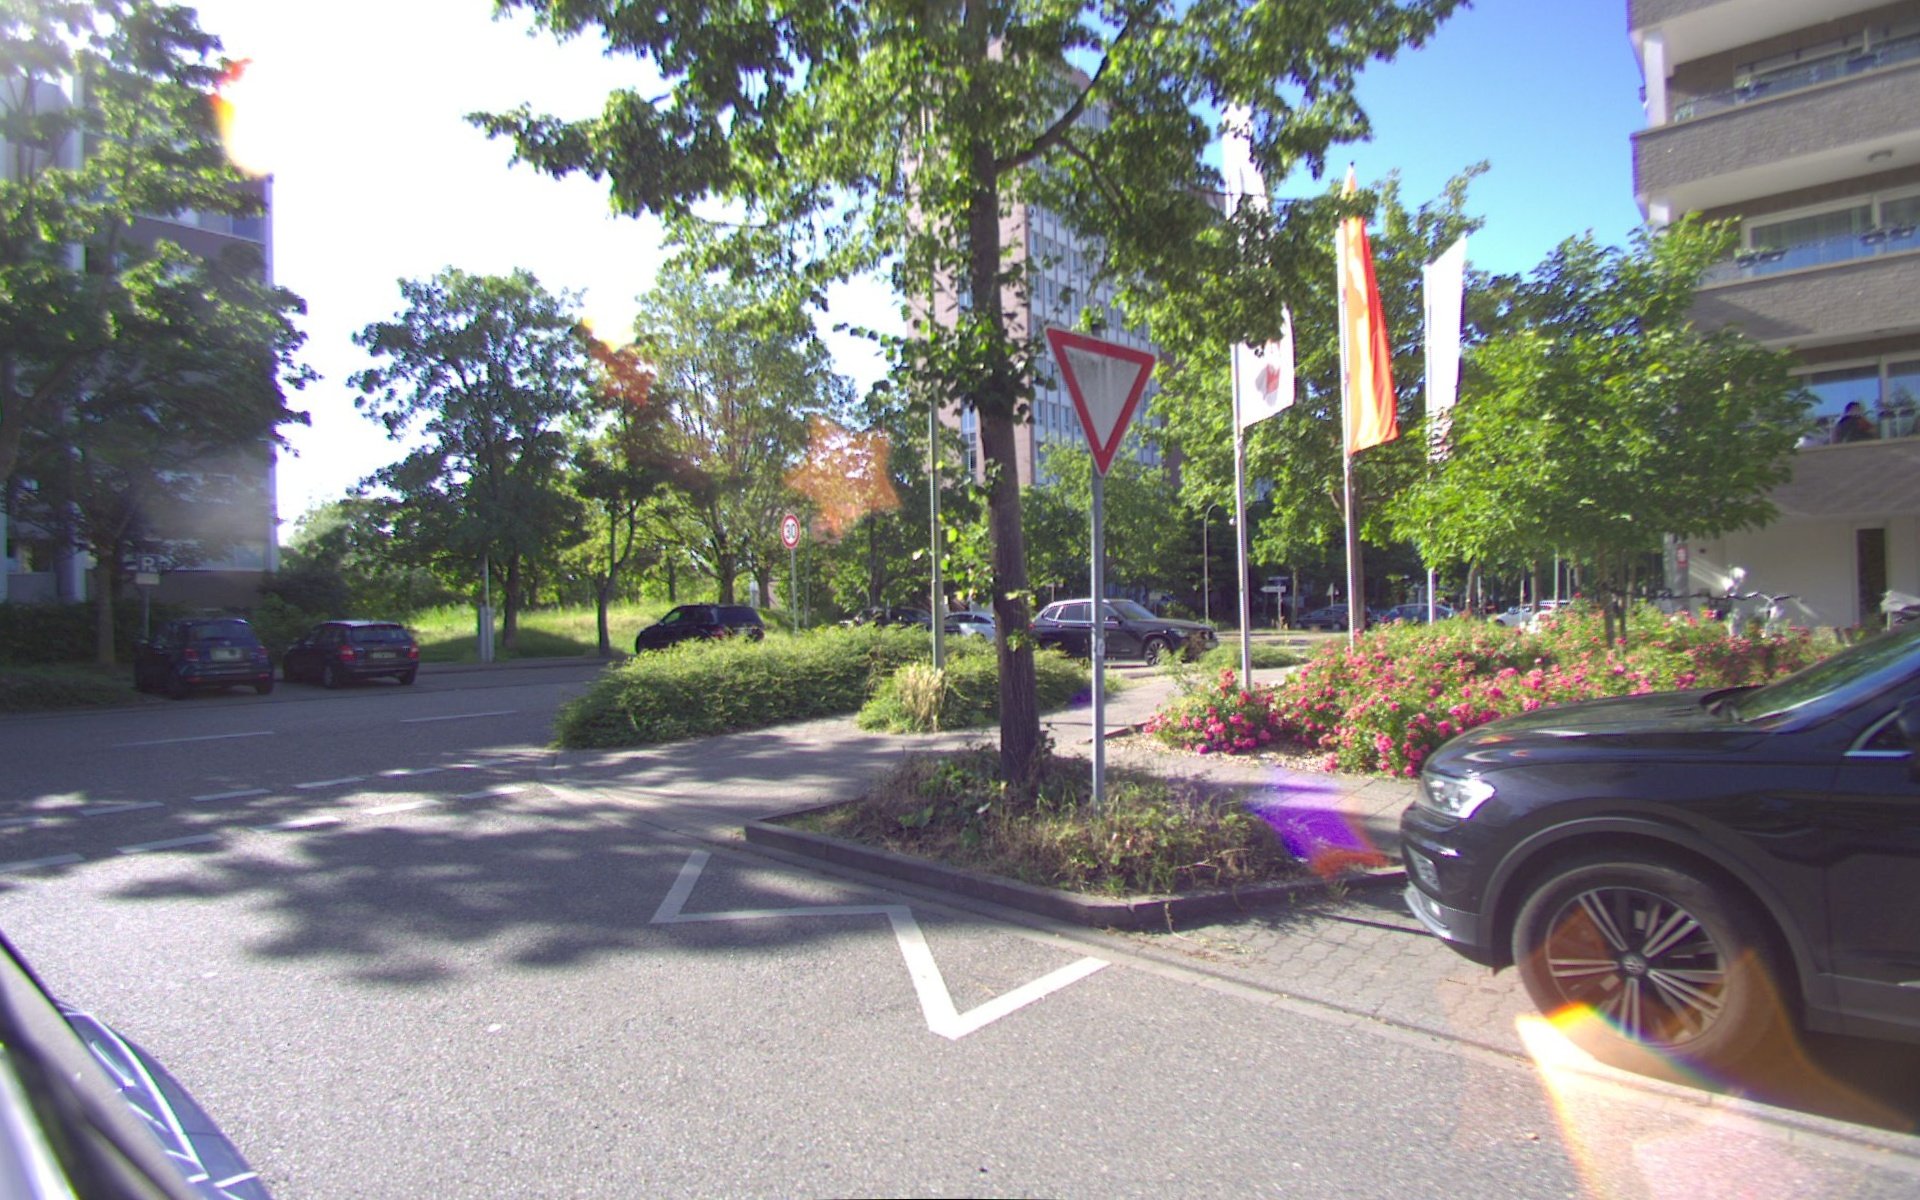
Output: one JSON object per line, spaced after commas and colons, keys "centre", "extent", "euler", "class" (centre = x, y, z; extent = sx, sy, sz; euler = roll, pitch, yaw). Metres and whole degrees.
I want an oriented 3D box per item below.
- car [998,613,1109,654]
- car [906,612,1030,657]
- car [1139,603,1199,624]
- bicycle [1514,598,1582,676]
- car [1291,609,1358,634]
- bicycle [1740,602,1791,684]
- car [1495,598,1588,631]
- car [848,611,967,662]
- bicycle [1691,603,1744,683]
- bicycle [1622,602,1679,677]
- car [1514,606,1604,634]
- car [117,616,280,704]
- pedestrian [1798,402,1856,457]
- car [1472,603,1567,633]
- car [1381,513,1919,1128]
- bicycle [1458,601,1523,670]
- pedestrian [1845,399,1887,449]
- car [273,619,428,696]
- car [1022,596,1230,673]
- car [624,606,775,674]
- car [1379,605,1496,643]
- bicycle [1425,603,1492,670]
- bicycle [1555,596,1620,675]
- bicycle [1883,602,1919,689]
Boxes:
{"centre": [3.939, 1.379, 42.867], "extent": [4.435, 1.605, 1.813], "euler": [0, 0, 38], "class": "car"}
{"centre": [0.254, 1.304, 37.989], "extent": [4.451, 1.557, 1.794], "euler": [-3, -2, 38], "class": "car"}
{"centre": [17.868, 1.138, 86.636], "extent": [4.723, 1.699, 1.852], "euler": [-1, -1, 37], "class": "car"}
{"centre": [8.599, 0.513, 14.753], "extent": [0.438, 1.055, 2.163], "euler": [-3, -2, 40], "class": "bicycle"}
{"centre": [23.985, 1.417, 66.645], "extent": [3.842, 1.457, 1.571], "euler": [2, -1, 38], "class": "car"}
{"centre": [11.266, 0.575, 14.131], "extent": [0.438, 1.055, 2.163], "euler": [-3, -2, 40], "class": "bicycle"}
{"centre": [33.073, 0.839, 57.605], "extent": [4.237, 1.614, 1.926], "euler": [-5, -3, 41], "class": "car"}
{"centre": [-1.890, 1.247, 35.820], "extent": [4.127, 1.630, 1.711], "euler": [0, 1, 39], "class": "car"}
{"centre": [10.863, 0.588, 14.486], "extent": [0.438, 1.055, 2.163], "euler": [-3, -2, 40], "class": "bicycle"}
{"centre": [10.416, 0.563, 15.236], "extent": [0.438, 1.055, 2.163], "euler": [-3, -2, 40], "class": "bicycle"}
{"centre": [36.424, 1.208, 61.587], "extent": [4.515, 1.462, 1.917], "euler": [-4, -3, 37], "class": "car"}
{"centre": [-15.276, 1.117, 20.259], "extent": [3.816, 1.510, 1.680], "euler": [0, 0, 38], "class": "car"}
{"centre": [14.834, -2.913, 17.327], "extent": [0.682, 0.804, 0.359], "euler": [-3, -2, 34], "class": "pedestrian"}
{"centre": [30.729, 0.996, 55.635], "extent": [4.268, 1.491, 1.776], "euler": [-3, -2, 40], "class": "car"}
{"centre": [3.739, 0.578, 2.880], "extent": [4.337, 1.632, 1.867], "euler": [-1, 0, 41], "class": "car"}
{"centre": [8.739, 0.563, 16.633], "extent": [0.438, 1.055, 2.163], "euler": [-3, -2, 40], "class": "bicycle"}
{"centre": [14.776, -2.869, 16.509], "extent": [0.415, 0.691, 0.423], "euler": [-3, -2, 32], "class": "pedestrian"}
{"centre": [-13.523, 1.196, 22.371], "extent": [3.998, 1.397, 1.797], "euler": [1, 1, 41], "class": "car"}
{"centre": [3.575, 0.782, 22.247], "extent": [4.204, 1.531, 1.747], "euler": [-3, -2, 42], "class": "car"}
{"centre": [-7.535, 1.081, 29.090], "extent": [4.600, 1.792, 1.973], "euler": [0, 0, 41], "class": "car"}
{"centre": [19.353, 0.987, 41.108], "extent": [3.993, 1.422, 1.794], "euler": [-3, -2, 37], "class": "car"}
{"centre": [8.370, 0.583, 16.946], "extent": [0.438, 1.055, 2.163], "euler": [-3, -2, 40], "class": "bicycle"}
{"centre": [8.960, 0.482, 14.415], "extent": [0.438, 1.055, 2.163], "euler": [-3, -2, 40], "class": "bicycle"}
{"centre": [12.429, 0.562, 13.208], "extent": [0.438, 1.055, 2.163], "euler": [-3, -2, 40], "class": "bicycle"}
